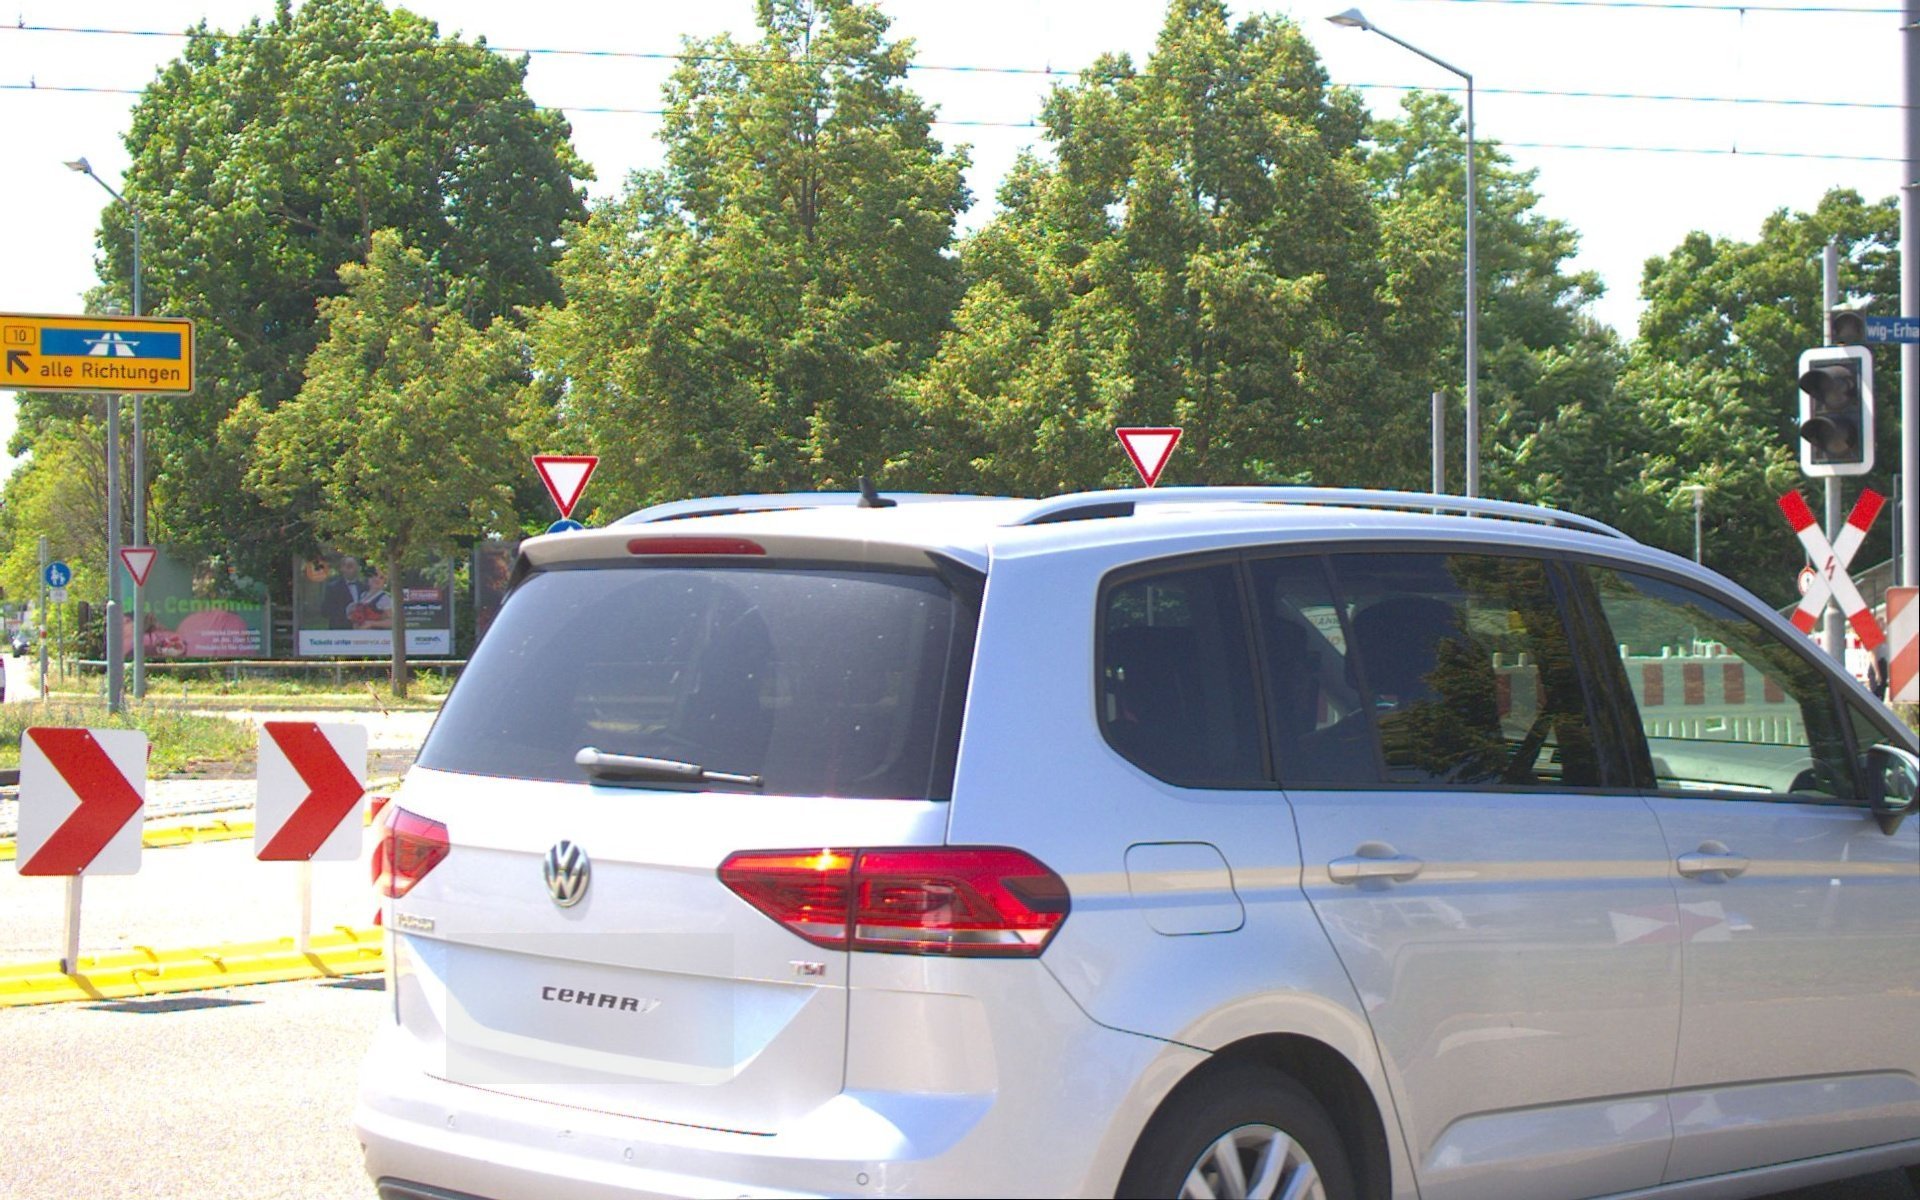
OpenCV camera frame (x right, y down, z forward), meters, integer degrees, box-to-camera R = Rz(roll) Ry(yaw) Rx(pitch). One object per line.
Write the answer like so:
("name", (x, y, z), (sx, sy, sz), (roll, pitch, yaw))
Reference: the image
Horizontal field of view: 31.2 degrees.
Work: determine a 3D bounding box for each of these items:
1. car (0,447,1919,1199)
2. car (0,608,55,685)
("car", (0.536, 0.580, 7.041), (1.805, 1.643, 4.592), (1, 1, 45))
("car", (-19.789, 0.921, 68.673), (1.994, 1.481, 4.366), (-1, 0, -34))
